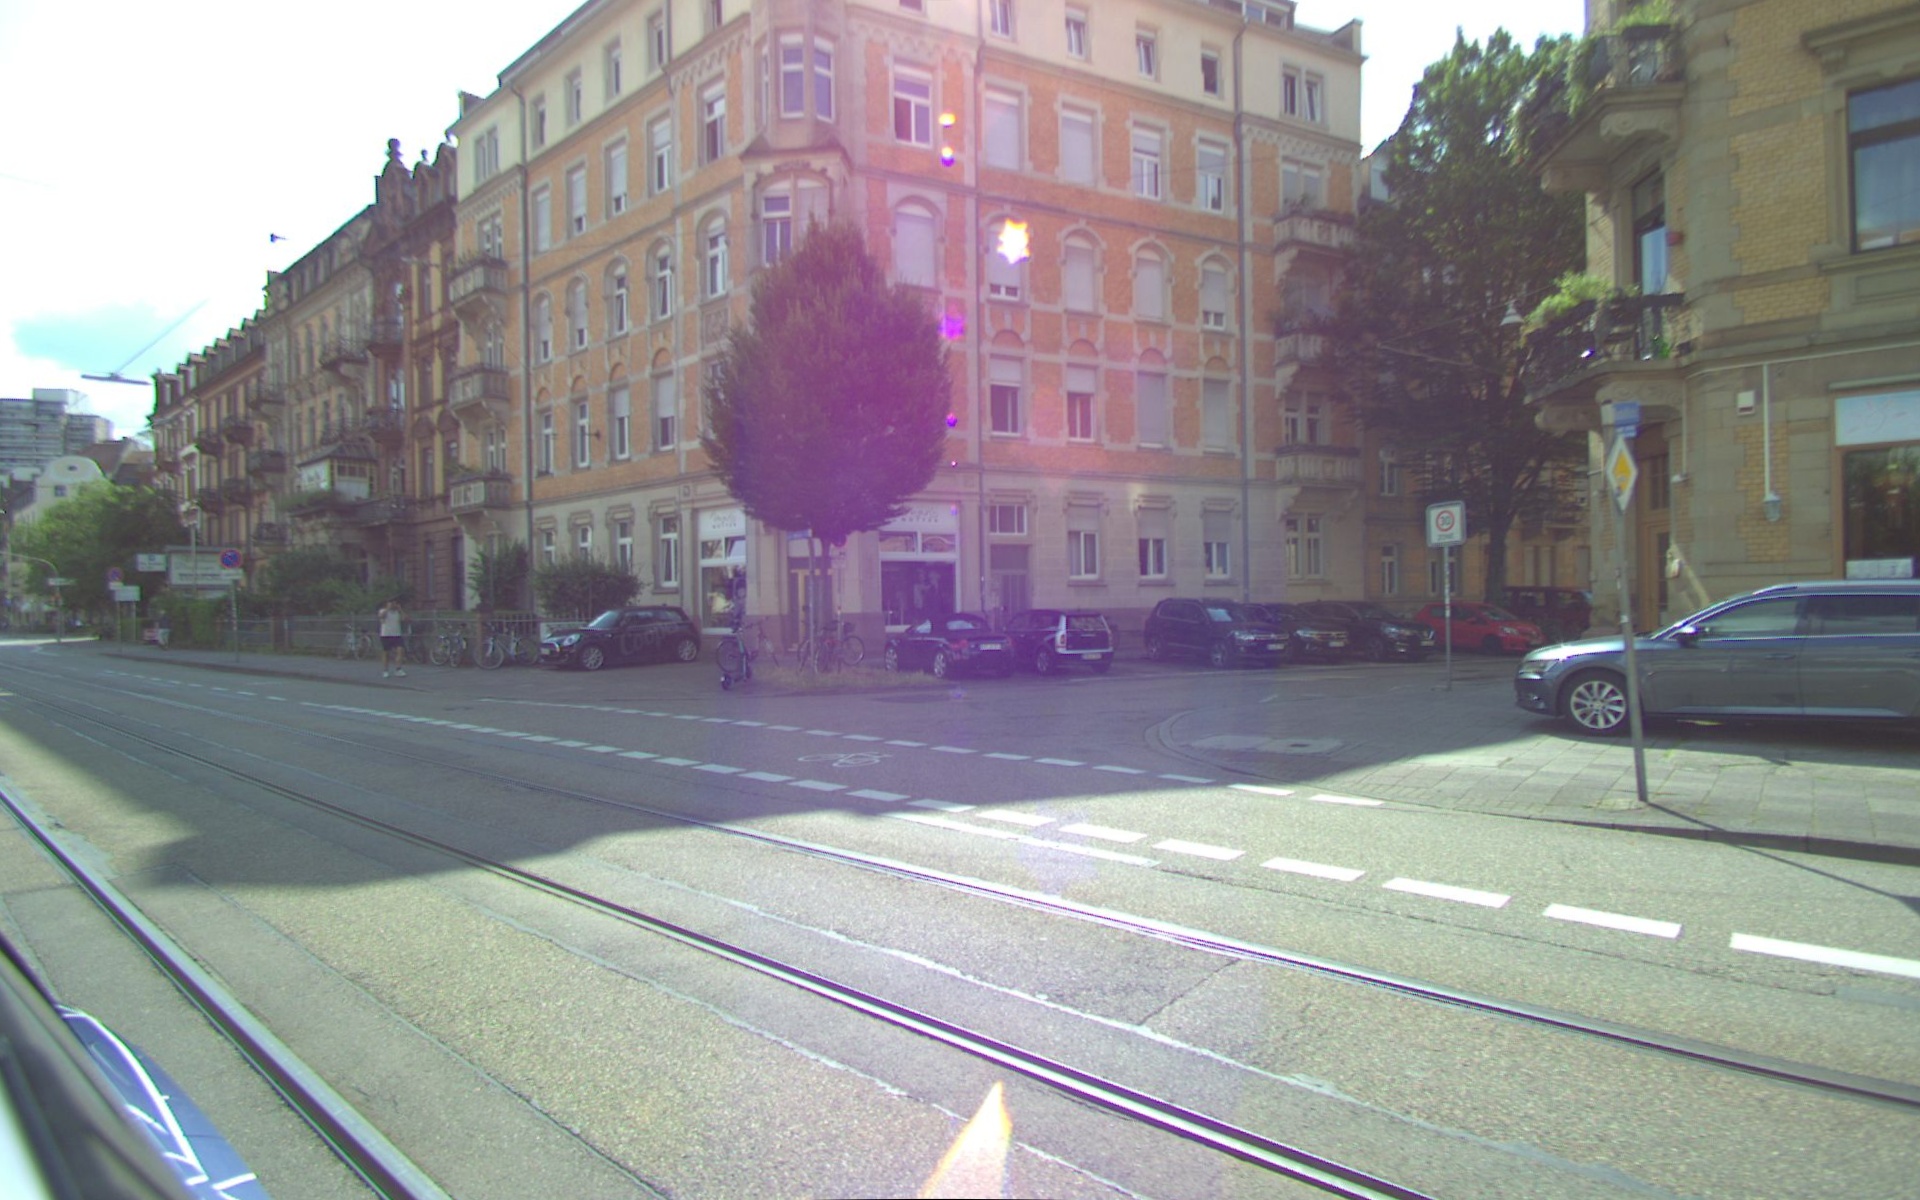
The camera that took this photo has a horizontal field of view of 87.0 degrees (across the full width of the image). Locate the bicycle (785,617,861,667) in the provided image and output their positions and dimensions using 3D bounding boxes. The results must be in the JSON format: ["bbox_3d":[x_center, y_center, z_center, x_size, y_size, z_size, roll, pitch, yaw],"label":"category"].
[{"bbox_3d":[-3.139,0.952,23.237,1.671,1.071,0.525,-1,-1,-39],"label":"bicycle"}]

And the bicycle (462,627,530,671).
[{"bbox_3d":[-10.967,1.144,23.955,0.404,0.984,1.438,-2,-1,41],"label":"bicycle"}]

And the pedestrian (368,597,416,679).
[{"bbox_3d":[-12.806,0.850,22.795,1.105,1.773,0.527,-1,1,41],"label":"pedestrian"}]

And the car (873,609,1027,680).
[{"bbox_3d":[-0.321,0.922,22.116,1.616,1.370,3.938,-1,-1,-30],"label":"car"}]

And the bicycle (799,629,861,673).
[{"bbox_3d":[-2.697,1.041,20.861,0.516,0.844,1.702,-1,-1,-36],"label":"bicycle"}]

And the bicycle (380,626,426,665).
[{"bbox_3d":[-14.697,1.184,26.687,1.948,0.984,0.417,-1,-1,41],"label":"bicycle"}]

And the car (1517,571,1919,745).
[{"bbox_3d":[8.136,0.499,9.593,4.762,1.470,1.668,-1,-1,41],"label":"car"}]

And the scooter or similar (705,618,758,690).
[{"bbox_3d":[-4.229,0.984,18.815,0.400,1.244,1.360,-1,0,12],"label":"scooter or similar"}]

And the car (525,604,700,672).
[{"bbox_3d":[-8.342,0.872,24.419,3.562,1.413,1.788,-2,0,-45],"label":"car"}]

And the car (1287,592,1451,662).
[{"bbox_3d":[10.923,0.711,27.322,1.591,1.734,4.013,-1,-1,-26],"label":"car"}]

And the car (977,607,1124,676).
[{"bbox_3d":[1.990,0.914,23.346,1.616,1.426,3.800,-1,-1,-26],"label":"car"}]

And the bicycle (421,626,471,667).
[{"bbox_3d":[-12.828,1.146,25.235,1.948,0.984,0.417,-1,-1,41],"label":"bicycle"}]

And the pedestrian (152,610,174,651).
[{"bbox_3d":[-33.714,1.298,42.797,1.150,1.716,0.483,-1,0,39],"label":"pedestrian"}]

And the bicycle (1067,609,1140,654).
[{"bbox_3d":[4.138,0.892,29.178,2.144,1.218,0.626,-1,-1,-31],"label":"bicycle"}]

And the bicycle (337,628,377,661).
[{"bbox_3d":[-17.636,1.285,29.582,1.948,0.939,0.417,-1,-1,41],"label":"bicycle"}]

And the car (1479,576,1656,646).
[{"bbox_3d":[19.326,0.361,32.411,1.864,2.080,4.527,-1,-1,-26],"label":"car"}]

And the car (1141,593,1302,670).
[{"bbox_3d":[6.363,0.724,25.046,1.591,1.734,4.013,-1,0,-26],"label":"car"}]

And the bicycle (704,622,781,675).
[{"bbox_3d":[-4.773,1.046,22.278,0.523,1.071,1.738,-2,-1,35],"label":"bicycle"}]

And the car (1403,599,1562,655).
[{"bbox_3d":[15.392,0.783,30.032,1.591,1.508,4.013,-1,-1,-26],"label":"car"}]

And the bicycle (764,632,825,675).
[{"bbox_3d":[-3.420,1.083,20.790,0.516,0.844,1.702,-1,-1,-36],"label":"bicycle"}]

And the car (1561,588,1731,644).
[{"bbox_3d":[23.515,0.481,34.896,1.864,1.796,4.528,-1,1,-26],"label":"car"}]
